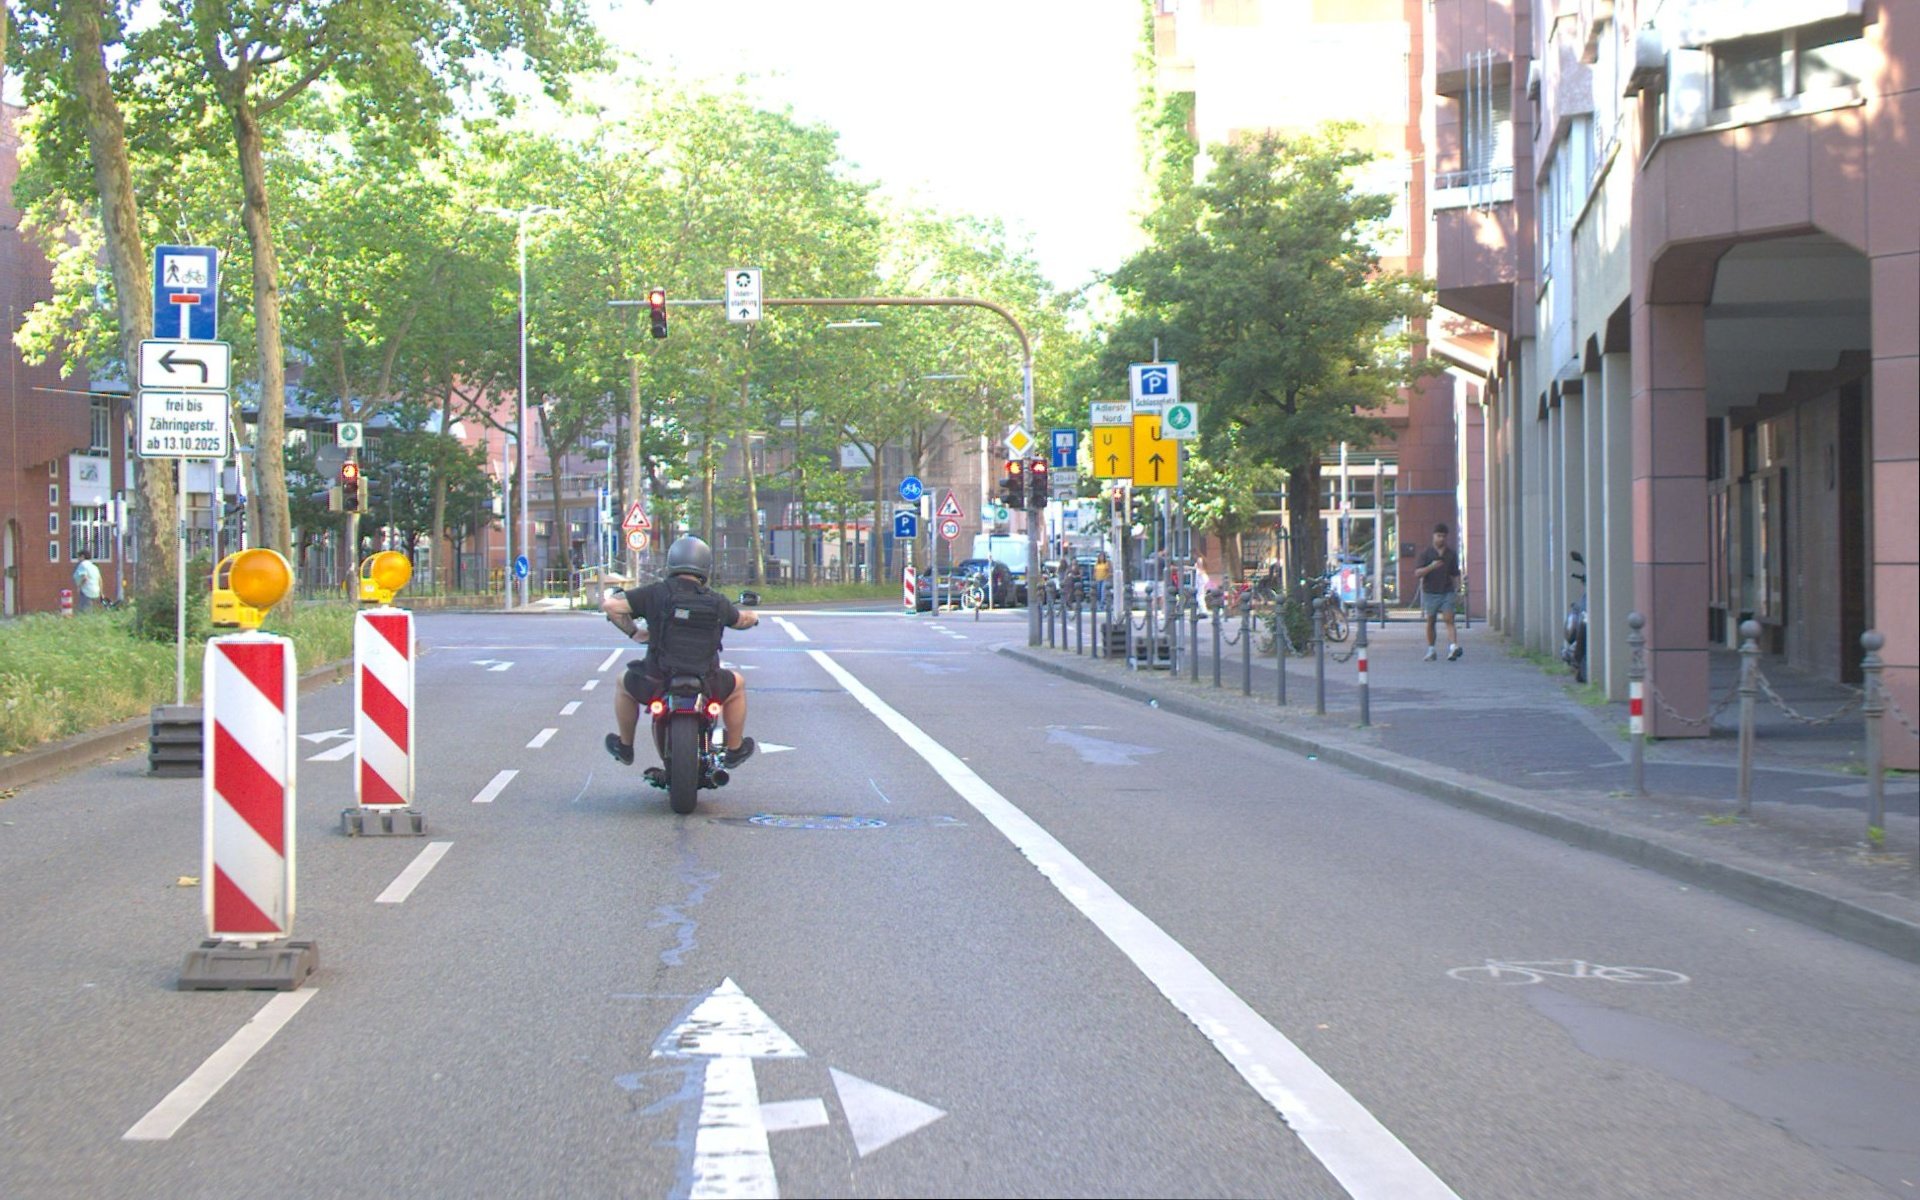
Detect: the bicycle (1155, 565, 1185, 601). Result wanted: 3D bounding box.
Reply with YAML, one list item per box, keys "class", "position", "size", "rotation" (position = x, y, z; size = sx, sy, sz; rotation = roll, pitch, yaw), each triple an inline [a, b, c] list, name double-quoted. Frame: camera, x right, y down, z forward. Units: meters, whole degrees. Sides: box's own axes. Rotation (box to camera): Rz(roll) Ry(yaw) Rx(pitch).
- class: "bicycle"
  position: [5.751, -0.470, 94.315]
  size: [0.737, 0.936, 1.752]
  rotation: [0, 1, 1]

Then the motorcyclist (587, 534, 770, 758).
- class: "motorcyclist"
  position: [-1.649, 0.258, 20.216]
  size: [1.011, 1.258, 0.774]
  rotation: [2, 1, -4]

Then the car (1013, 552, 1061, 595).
- class: "car"
  position: [2.954, -1.018, 131.301]
  size: [1.620, 1.604, 3.774]
  rotation: [0, 1, 5]

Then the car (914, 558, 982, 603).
- class: "car"
  position: [-0.336, -0.579, 101.748]
  size: [1.620, 1.298, 4.311]
  rotation: [0, 1, 5]

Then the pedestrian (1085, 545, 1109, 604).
- class: "pedestrian"
  position: [4.054, -0.761, 101.721]
  size: [0.700, 1.727, 0.768]
  rotation: [0, 1, 0]

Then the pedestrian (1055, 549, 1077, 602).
- class: "pedestrian"
  position: [3.135, -0.725, 101.797]
  size: [0.644, 1.573, 0.748]
  rotation: [0, 1, 0]

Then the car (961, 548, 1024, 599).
- class: "car"
  position: [1.063, -0.864, 111.752]
  size: [1.620, 1.614, 4.484]
  rotation: [0, 1, 6]

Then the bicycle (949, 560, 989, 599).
- class: "bicycle"
  position: [0.235, -0.561, 94.676]
  size: [0.737, 1.049, 1.753]
  rotation: [0, 1, -12]

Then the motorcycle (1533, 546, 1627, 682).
- class: "motorcycle"
  position: [6.450, 0.126, 35.865]
  size: [0.488, 1.368, 2.091]
  rotation: [0, 1, -3]

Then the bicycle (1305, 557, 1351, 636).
- class: "bicycle"
  position: [5.857, -0.063, 54.688]
  size: [0.622, 1.221, 1.926]
  rotation: [0, 1, 9]

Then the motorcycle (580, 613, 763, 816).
- class: "motorcycle"
  position: [-1.684, 0.643, 20.208]
  size: [1.018, 1.093, 2.008]
  rotation: [0, 1, -4]

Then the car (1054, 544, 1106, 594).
- class: "car"
  position: [4.979, -1.288, 142.502]
  size: [1.836, 2.007, 4.387]
  rotation: [0, 1, 6]

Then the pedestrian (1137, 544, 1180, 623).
- class: "pedestrian"
  position: [4.494, -0.376, 77.941]
  size: [0.785, 1.757, 0.610]
  rotation: [-1, 1, -23]

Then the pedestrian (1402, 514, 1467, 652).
- class: "pedestrian"
  position: [6.023, -0.226, 43.651]
  size: [0.781, 1.732, 0.837]
  rotation: [0, 1, 5]

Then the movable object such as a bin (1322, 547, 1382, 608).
- class: "movable object such as a bin"
  position: [9.502, -0.547, 83.284]
  size: [1.410, 1.477, 0.871]
  rotation: [0, 1, 8]

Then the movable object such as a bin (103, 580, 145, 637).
- class: "movable object such as a bin"
  position: [-14.258, 0.140, 58.657]
  size: [0.510, 0.950, 0.539]
  rotation: [0, 1, 10]

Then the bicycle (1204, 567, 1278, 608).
- class: "bicycle"
  position: [7.298, -0.329, 89.308]
  size: [1.748, 1.049, 0.738]
  rotation: [0, 1, 24]

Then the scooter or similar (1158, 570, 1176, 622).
- class: "scooter or similar"
  position: [4.679, -0.098, 77.752]
  size: [0.394, 1.154, 1.249]
  rotation: [0, 1, 2]

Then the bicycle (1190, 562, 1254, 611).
- class: "bicycle"
  position: [6.557, -0.344, 85.987]
  size: [1.567, 1.223, 0.577]
  rotation: [0, 1, 3]

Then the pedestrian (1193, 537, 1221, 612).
- class: "pedestrian"
  position: [5.594, -0.577, 77.736]
  size: [0.459, 1.667, 0.680]
  rotation: [-1, 1, -11]

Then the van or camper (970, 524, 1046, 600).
- class: "van or camper"
  position: [1.670, -1.294, 118.169]
  size: [2.049, 2.532, 5.771]
  rotation: [0, 1, 6]

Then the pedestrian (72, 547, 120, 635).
- class: "pedestrian"
  position: [-14.694, -0.155, 58.461]
  size: [0.618, 1.498, 0.534]
  rotation: [0, 1, 10]
